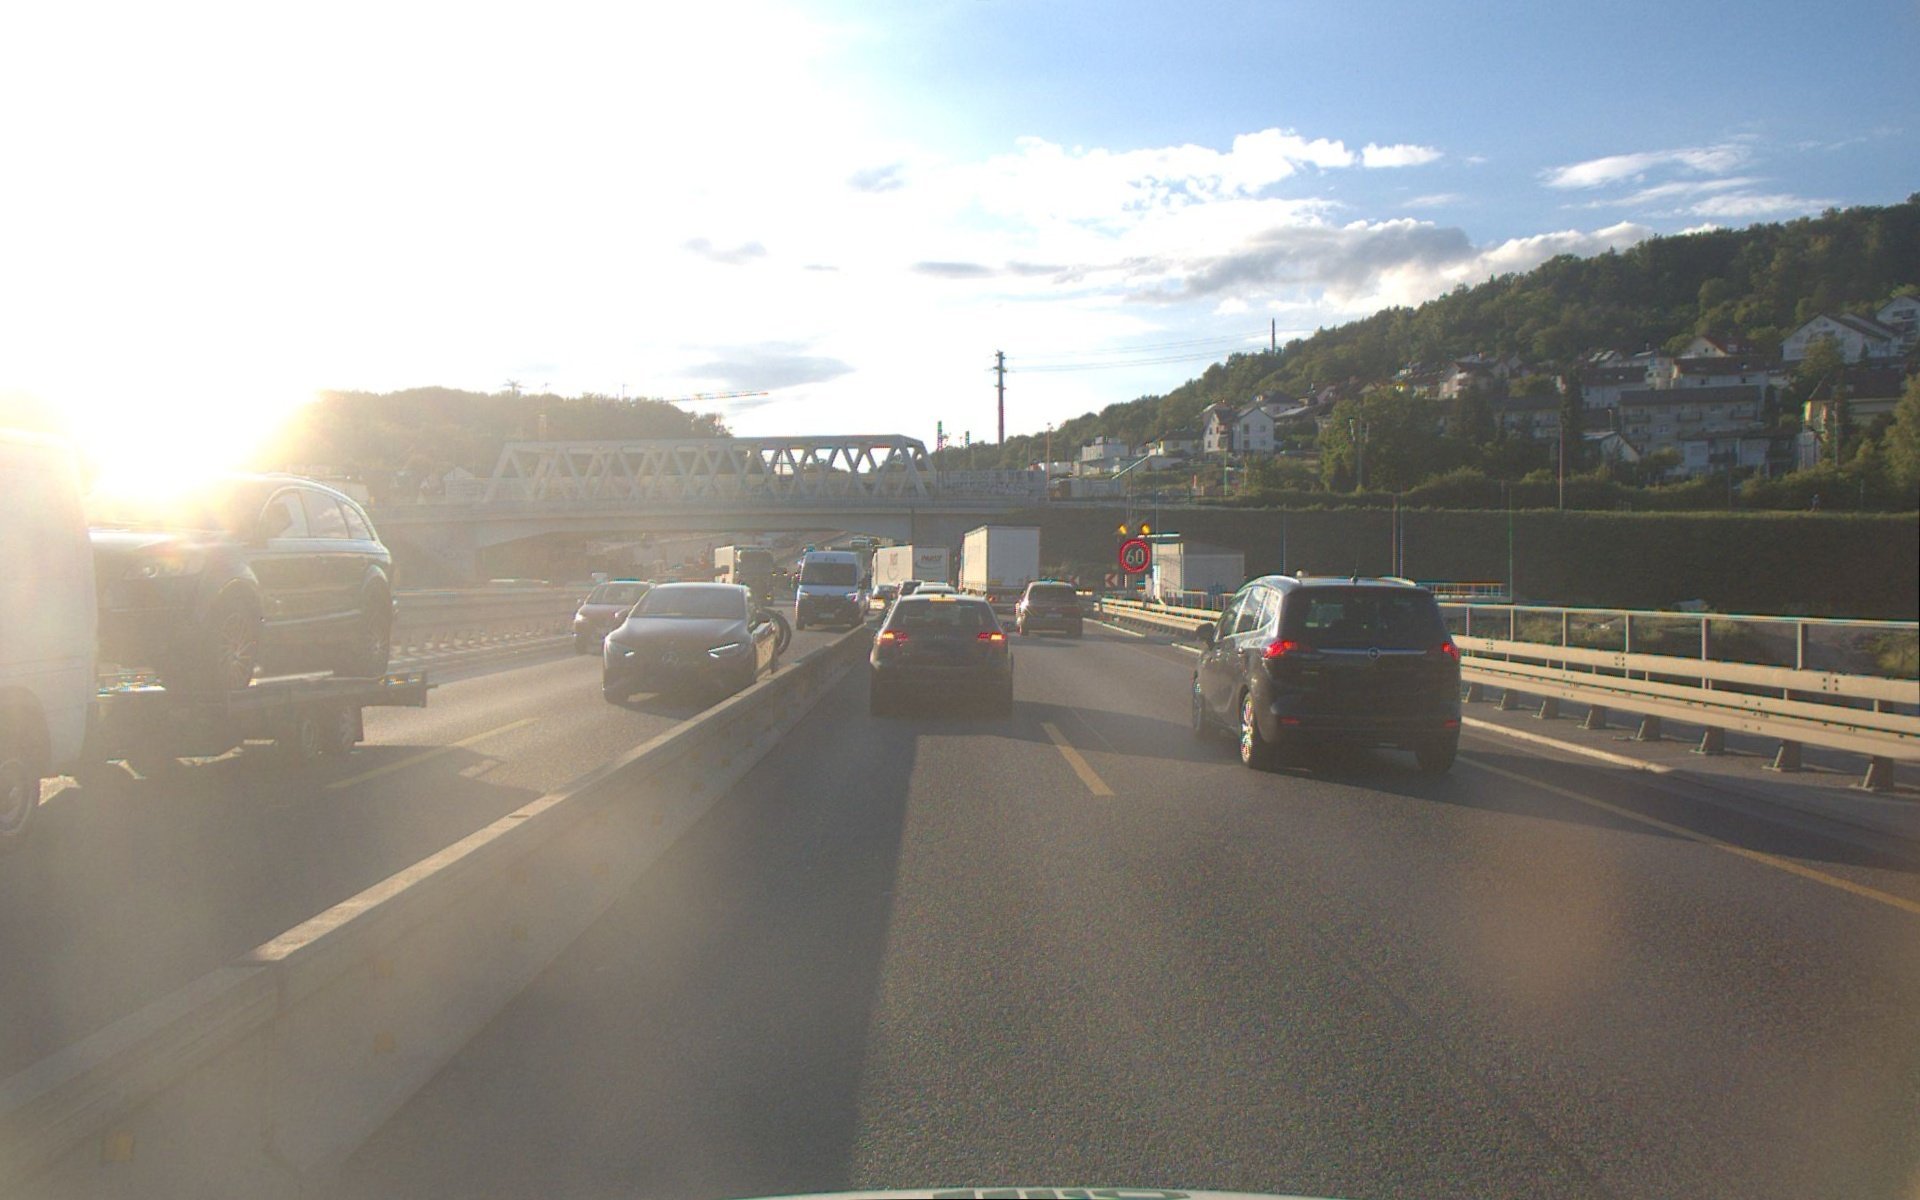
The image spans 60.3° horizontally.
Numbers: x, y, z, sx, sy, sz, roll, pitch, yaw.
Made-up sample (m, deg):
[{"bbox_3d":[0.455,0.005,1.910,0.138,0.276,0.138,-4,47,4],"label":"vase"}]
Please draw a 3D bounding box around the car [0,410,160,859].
[{"bbox_3d":[-5.997,0.179,7.474,1.953,2.364,5.933,1,0,-1],"label":"car"}]

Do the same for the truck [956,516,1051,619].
[{"bbox_3d":[1.957,-1.538,83.060,3.319,4.577,15.255,1,0,-4],"label":"truck"}]

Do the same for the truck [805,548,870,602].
[{"bbox_3d":[-11.373,-2.385,151.693,3.824,4.576,13.803,1,2,-13],"label":"truck"}]

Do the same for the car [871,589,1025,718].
[{"bbox_3d":[-0.199,0.599,20.782,1.734,1.414,3.999,1,1,-2],"label":"car"}]

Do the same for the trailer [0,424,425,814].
[{"bbox_3d":[-6.081,0.090,13.139,2.035,2.463,5.217,1,0,-2],"label":"trailer"}]

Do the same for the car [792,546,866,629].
[{"bbox_3d":[-4.222,-0.422,54.281,2.031,2.500,6.265,1,1,-2],"label":"car"}]

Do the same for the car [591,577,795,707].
[{"bbox_3d":[-3.548,0.491,23.091,1.953,1.557,5.781,1,0,-1],"label":"car"}]

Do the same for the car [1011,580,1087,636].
[{"bbox_3d":[2.673,0.223,50.514,1.735,1.579,3.996,2,1,-5],"label":"car"}]

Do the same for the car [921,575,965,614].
[{"bbox_3d":[-0.685,-0.250,69.596,1.729,1.512,4.000,2,1,0],"label":"car"}]

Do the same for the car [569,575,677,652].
[{"bbox_3d":[-7.287,0.263,36.103,1.584,1.579,4.087,0,0,-1],"label":"car"}]

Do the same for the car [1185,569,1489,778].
[{"bbox_3d":[3.351,0.576,15.591,1.777,1.661,4.410,1,1,-1],"label":"car"}]

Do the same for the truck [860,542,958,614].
[{"bbox_3d":[-3.764,-1.513,115.547,3.823,4.577,15.216,1,0,-13],"label":"truck"}]

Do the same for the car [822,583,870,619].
[{"bbox_3d":[-5.098,0.016,74.483,1.884,1.523,4.367,1,1,-1],"label":"car"}]

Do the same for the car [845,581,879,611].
[{"bbox_3d":[-5.277,-0.240,88.689,1.756,1.566,4.364,1,1,-4],"label":"car"}]

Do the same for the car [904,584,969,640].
[{"bbox_3d":[-0.730,0.319,47.996,1.730,1.512,3.998,2,1,-3],"label":"car"}]

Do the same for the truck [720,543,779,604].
[{"bbox_3d":[-14.670,-1.832,114.754,2.881,3.958,10.227,1,1,-14],"label":"truck"}]

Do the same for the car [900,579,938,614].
[{"bbox_3d":[-2.179,-0.218,86.819,1.666,1.763,3.995,1,1,-7],"label":"car"}]
